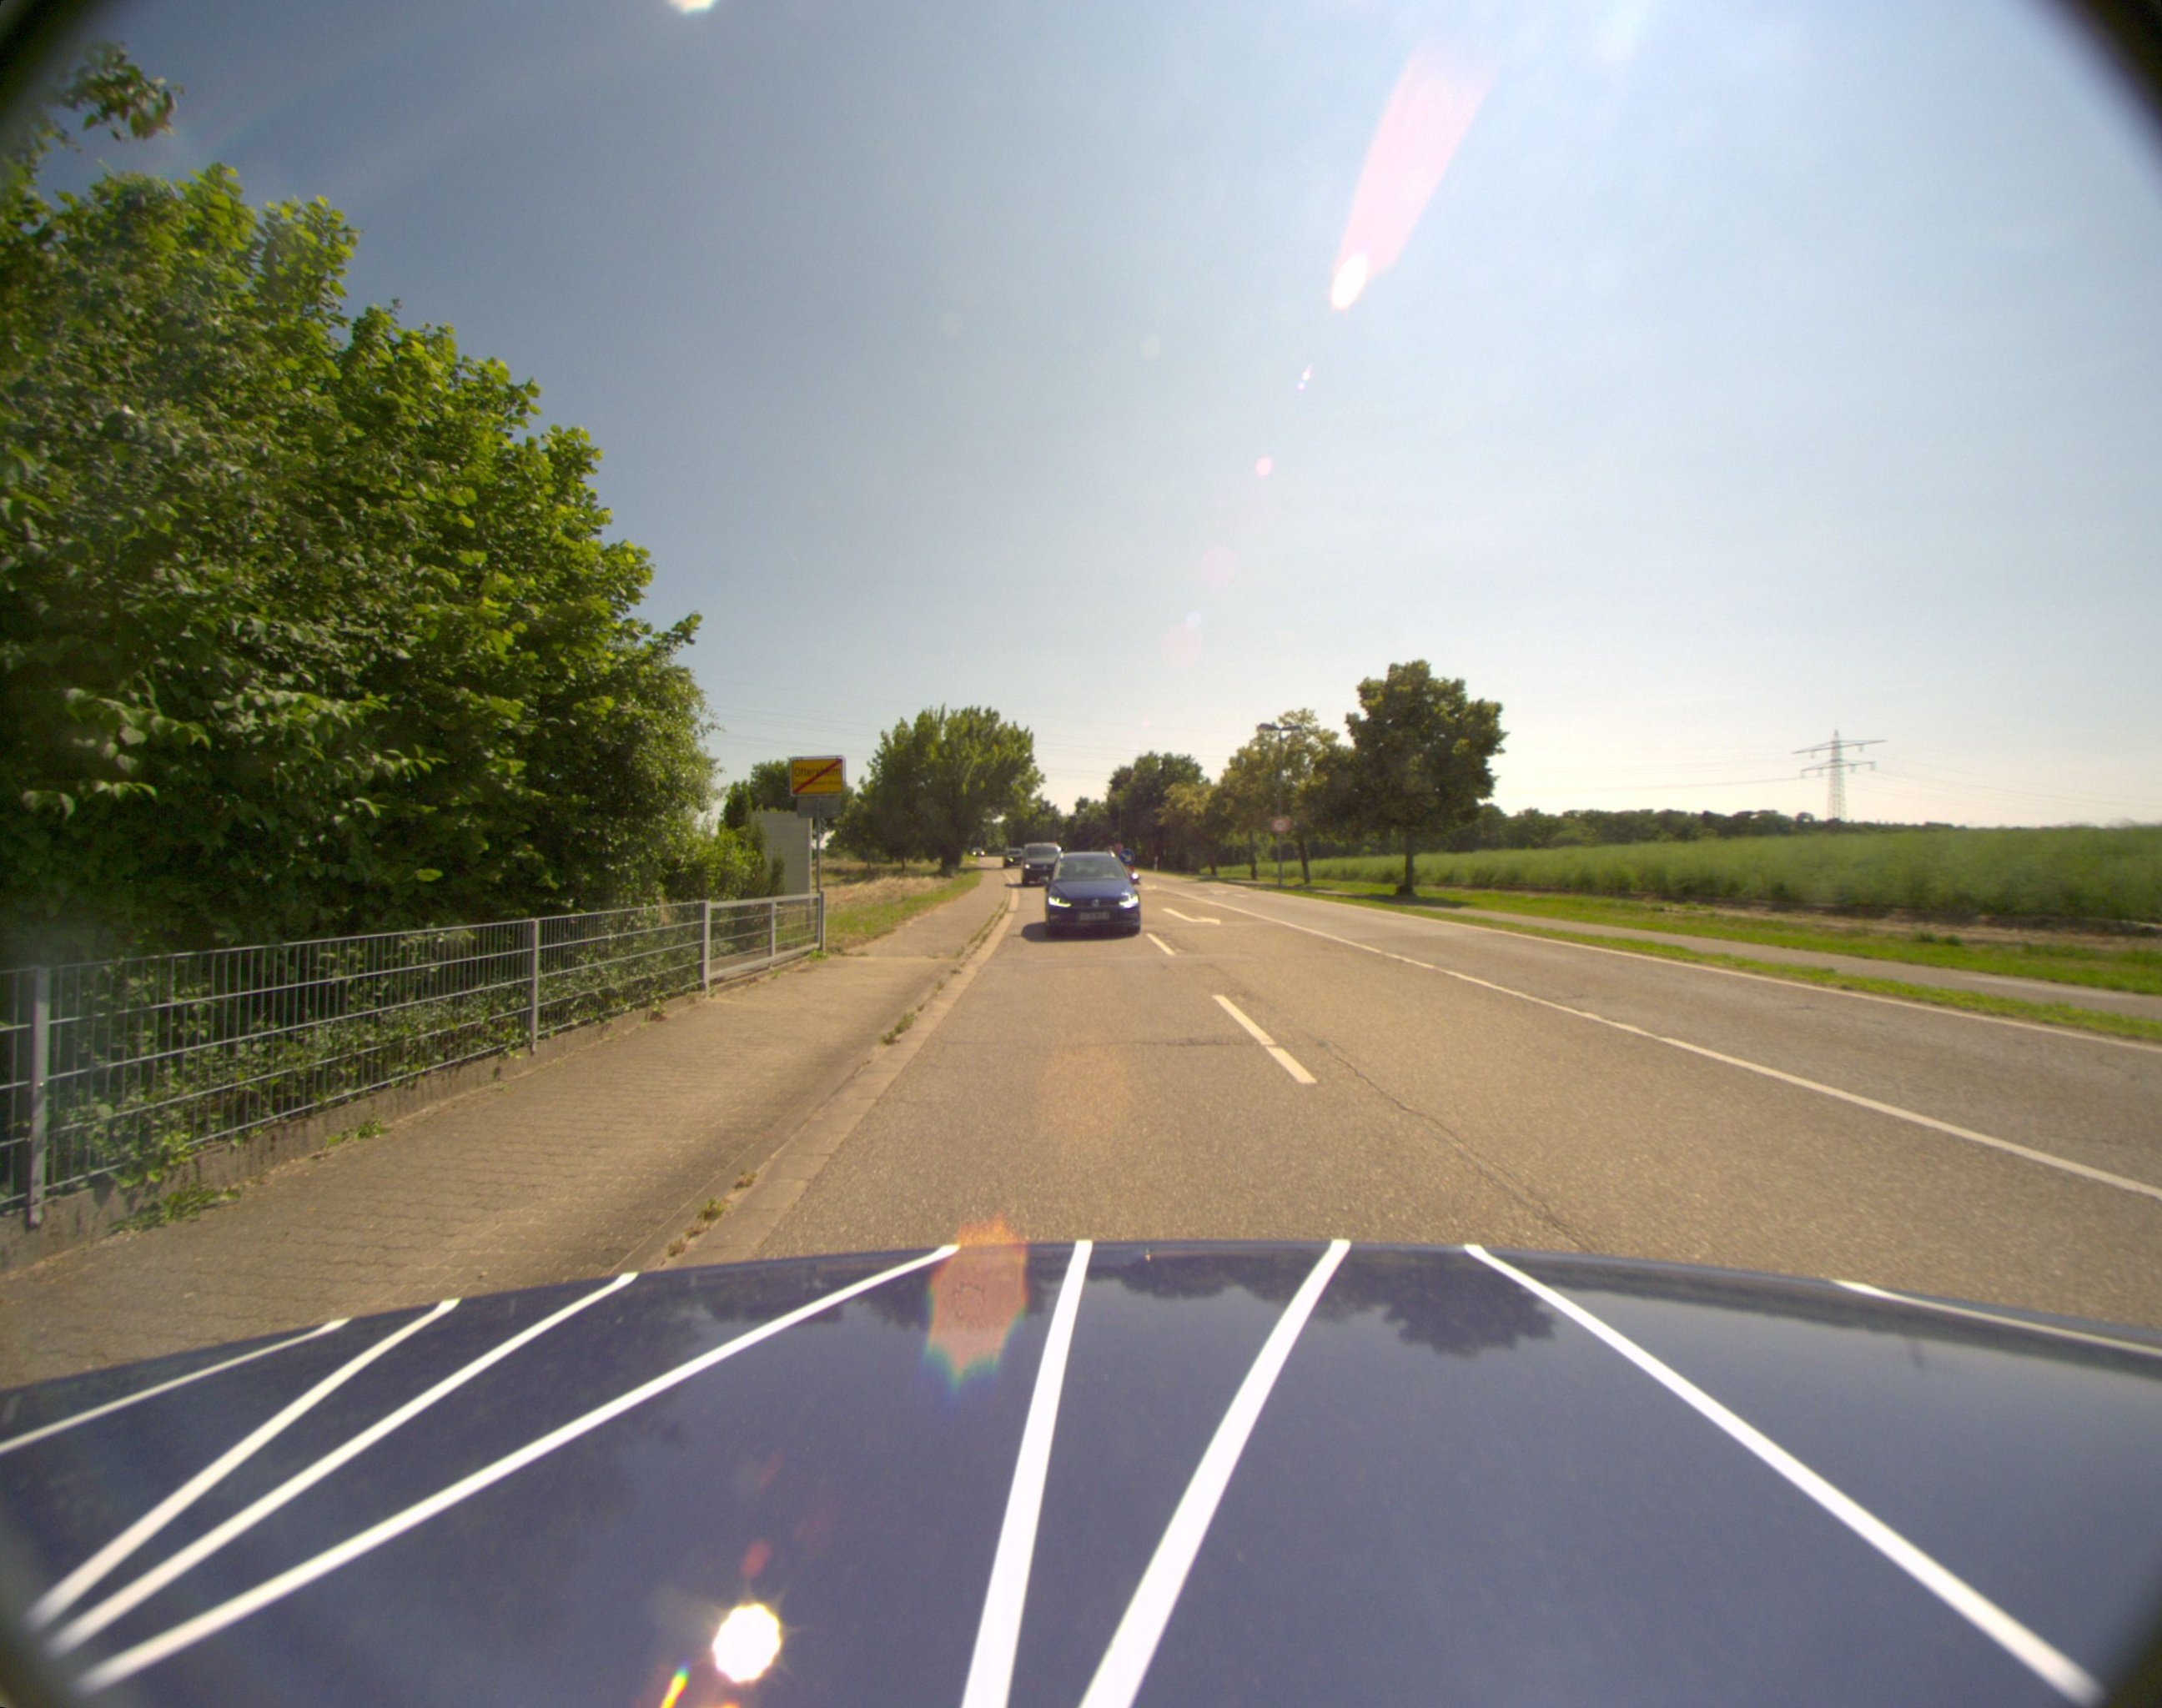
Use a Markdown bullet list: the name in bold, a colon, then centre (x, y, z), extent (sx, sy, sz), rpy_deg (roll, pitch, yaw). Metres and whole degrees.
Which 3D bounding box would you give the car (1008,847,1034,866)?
- **car**: centre (-5.142, 0.207, 65.098), extent (1.766, 1.530, 3.680), rpy_deg (-1, 0, -12)

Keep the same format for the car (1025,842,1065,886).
- **car**: centre (-1.690, 0.436, 36.041), extent (1.765, 1.953, 4.261), rpy_deg (0, 0, -2)

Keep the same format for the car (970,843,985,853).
- **car**: centre (-17.156, -0.932, 125.476), extent (2.001, 1.522, 3.995), rpy_deg (-1, 0, -13)

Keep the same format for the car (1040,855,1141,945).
- **car**: centre (0.159, 0.810, 15.685), extent (1.764, 1.520, 4.422), rpy_deg (-1, 0, 0)
